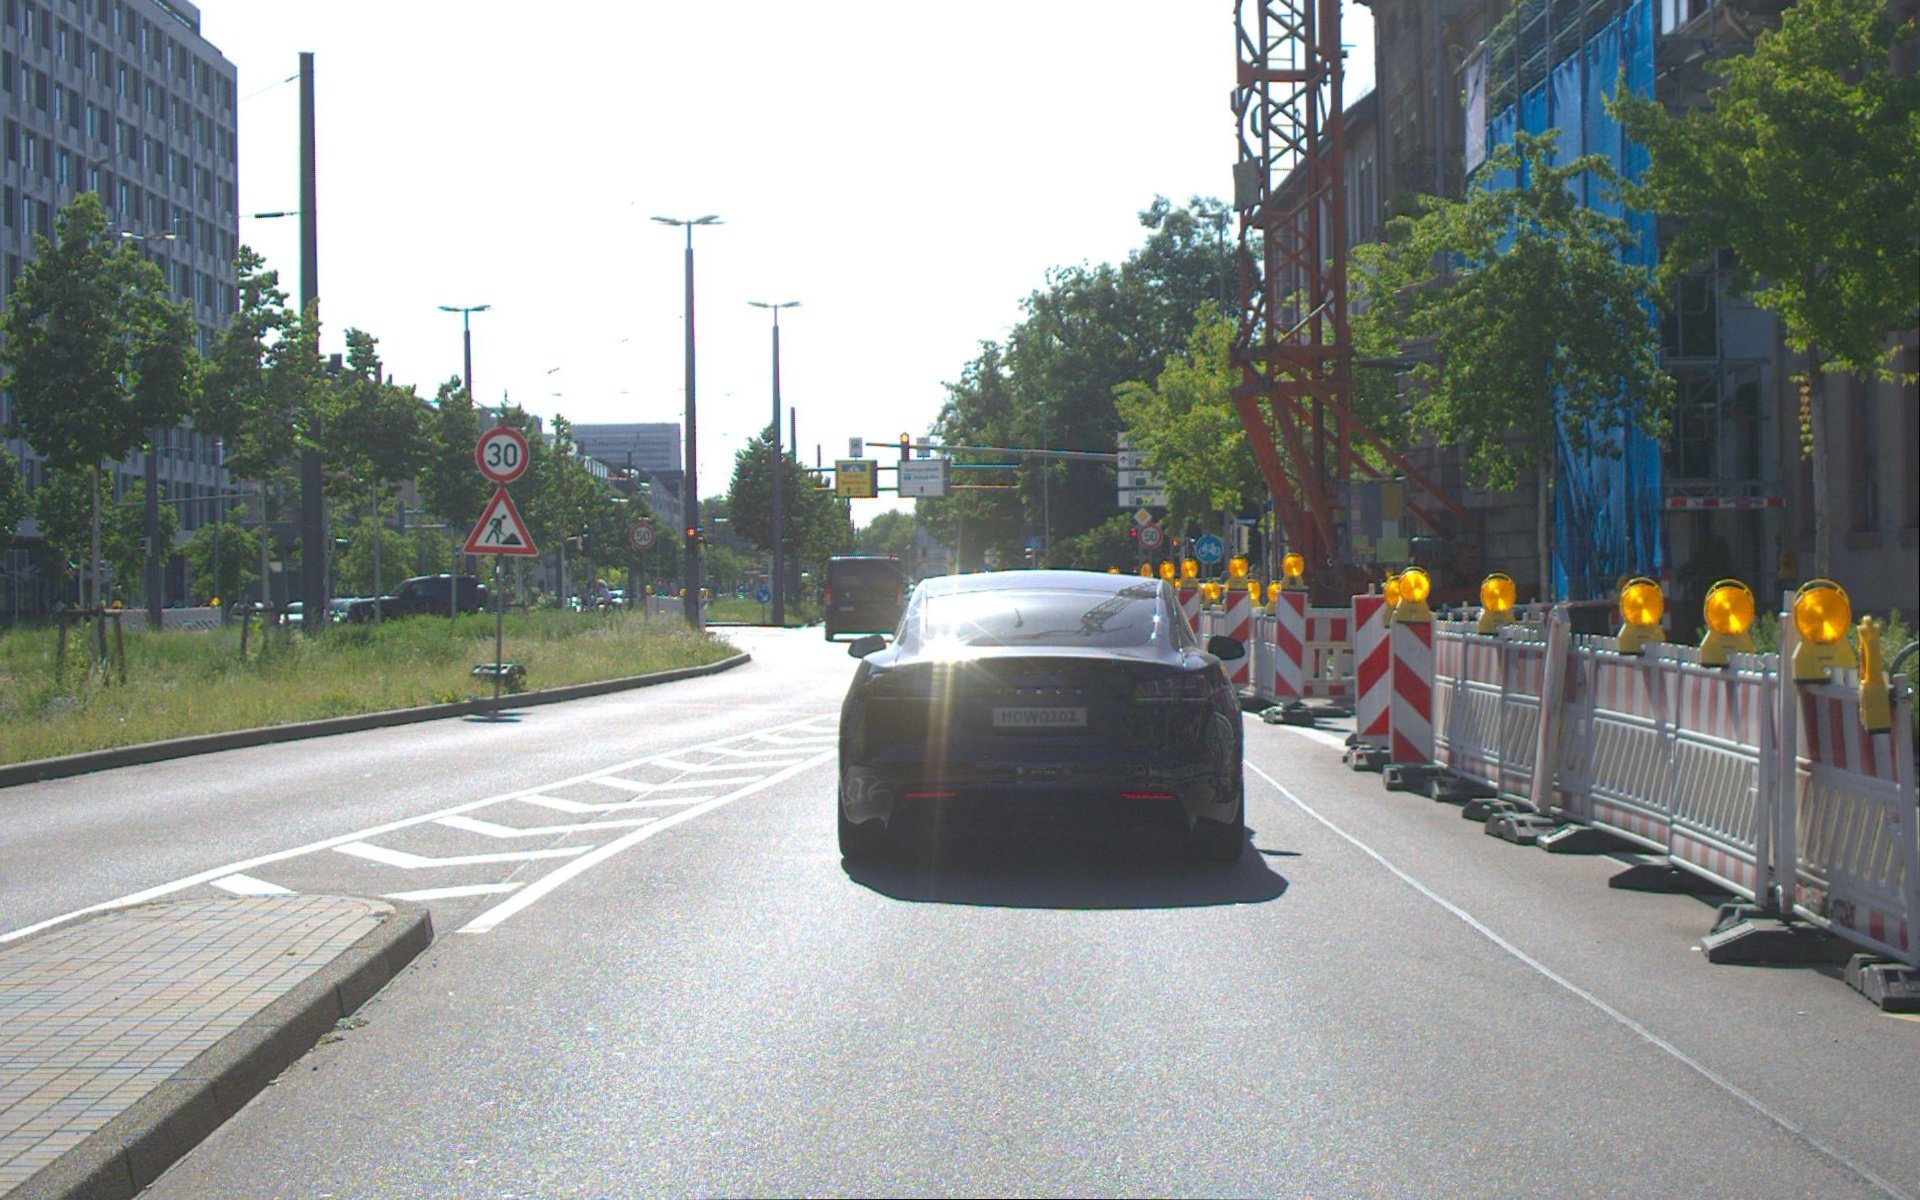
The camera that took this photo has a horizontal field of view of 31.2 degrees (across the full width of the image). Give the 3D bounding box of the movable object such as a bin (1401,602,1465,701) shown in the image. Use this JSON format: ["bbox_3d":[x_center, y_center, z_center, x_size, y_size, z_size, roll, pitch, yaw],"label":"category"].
[{"bbox_3d":[5.153,0.556,37.502,0.587,1.054,0.730,1,0,0],"label":"movable object such as a bin"}]

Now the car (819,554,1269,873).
[{"bbox_3d":[0.353,0.513,18.098,2.051,1.439,4.524,1,0,-1],"label":"car"}]

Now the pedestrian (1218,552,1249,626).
[{"bbox_3d":[7.245,-0.288,91.047,0.658,1.906,0.587,-4,0,-1],"label":"pedestrian"}]

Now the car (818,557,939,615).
[{"bbox_3d":[-2.776,-0.469,116.539,3.972,1.912,1.915,-1,0,-4],"label":"car"}]

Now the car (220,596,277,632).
[{"bbox_3d":[-32.880,0.630,159.046,1.790,1.645,4.000,-1,0,0],"label":"car"}]

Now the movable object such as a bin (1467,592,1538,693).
[{"bbox_3d":[5.944,0.463,37.700,0.595,1.054,0.730,-4,0,0],"label":"movable object such as a bin"}]

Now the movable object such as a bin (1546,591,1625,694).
[{"bbox_3d":[6.835,0.459,37.604,0.587,1.054,0.783,-5,1,-5],"label":"movable object such as a bin"}]

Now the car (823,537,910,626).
[{"bbox_3d":[-2.488,-0.507,90.945,2.218,2.259,4.484,1,1,-2],"label":"car"}]

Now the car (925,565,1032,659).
[{"bbox_3d":[0.304,0.185,58.509,1.749,1.522,4.005,1,0,0],"label":"car"}]

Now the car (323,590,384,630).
[{"bbox_3d":[-25.162,0.408,142.744,1.790,1.645,4.000,-1,0,0],"label":"car"}]

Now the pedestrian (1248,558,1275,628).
[{"bbox_3d":[7.986,-0.195,91.072,0.563,1.815,0.587,-4,0,-1],"label":"pedestrian"}]

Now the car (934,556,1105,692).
[{"bbox_3d":[0.611,0.234,38.529,1.747,1.422,4.838,0,0,-1],"label":"car"}]

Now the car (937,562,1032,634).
[{"bbox_3d":[0.478,-0.038,71.139,1.791,1.423,3.850,1,0,-2],"label":"car"}]
